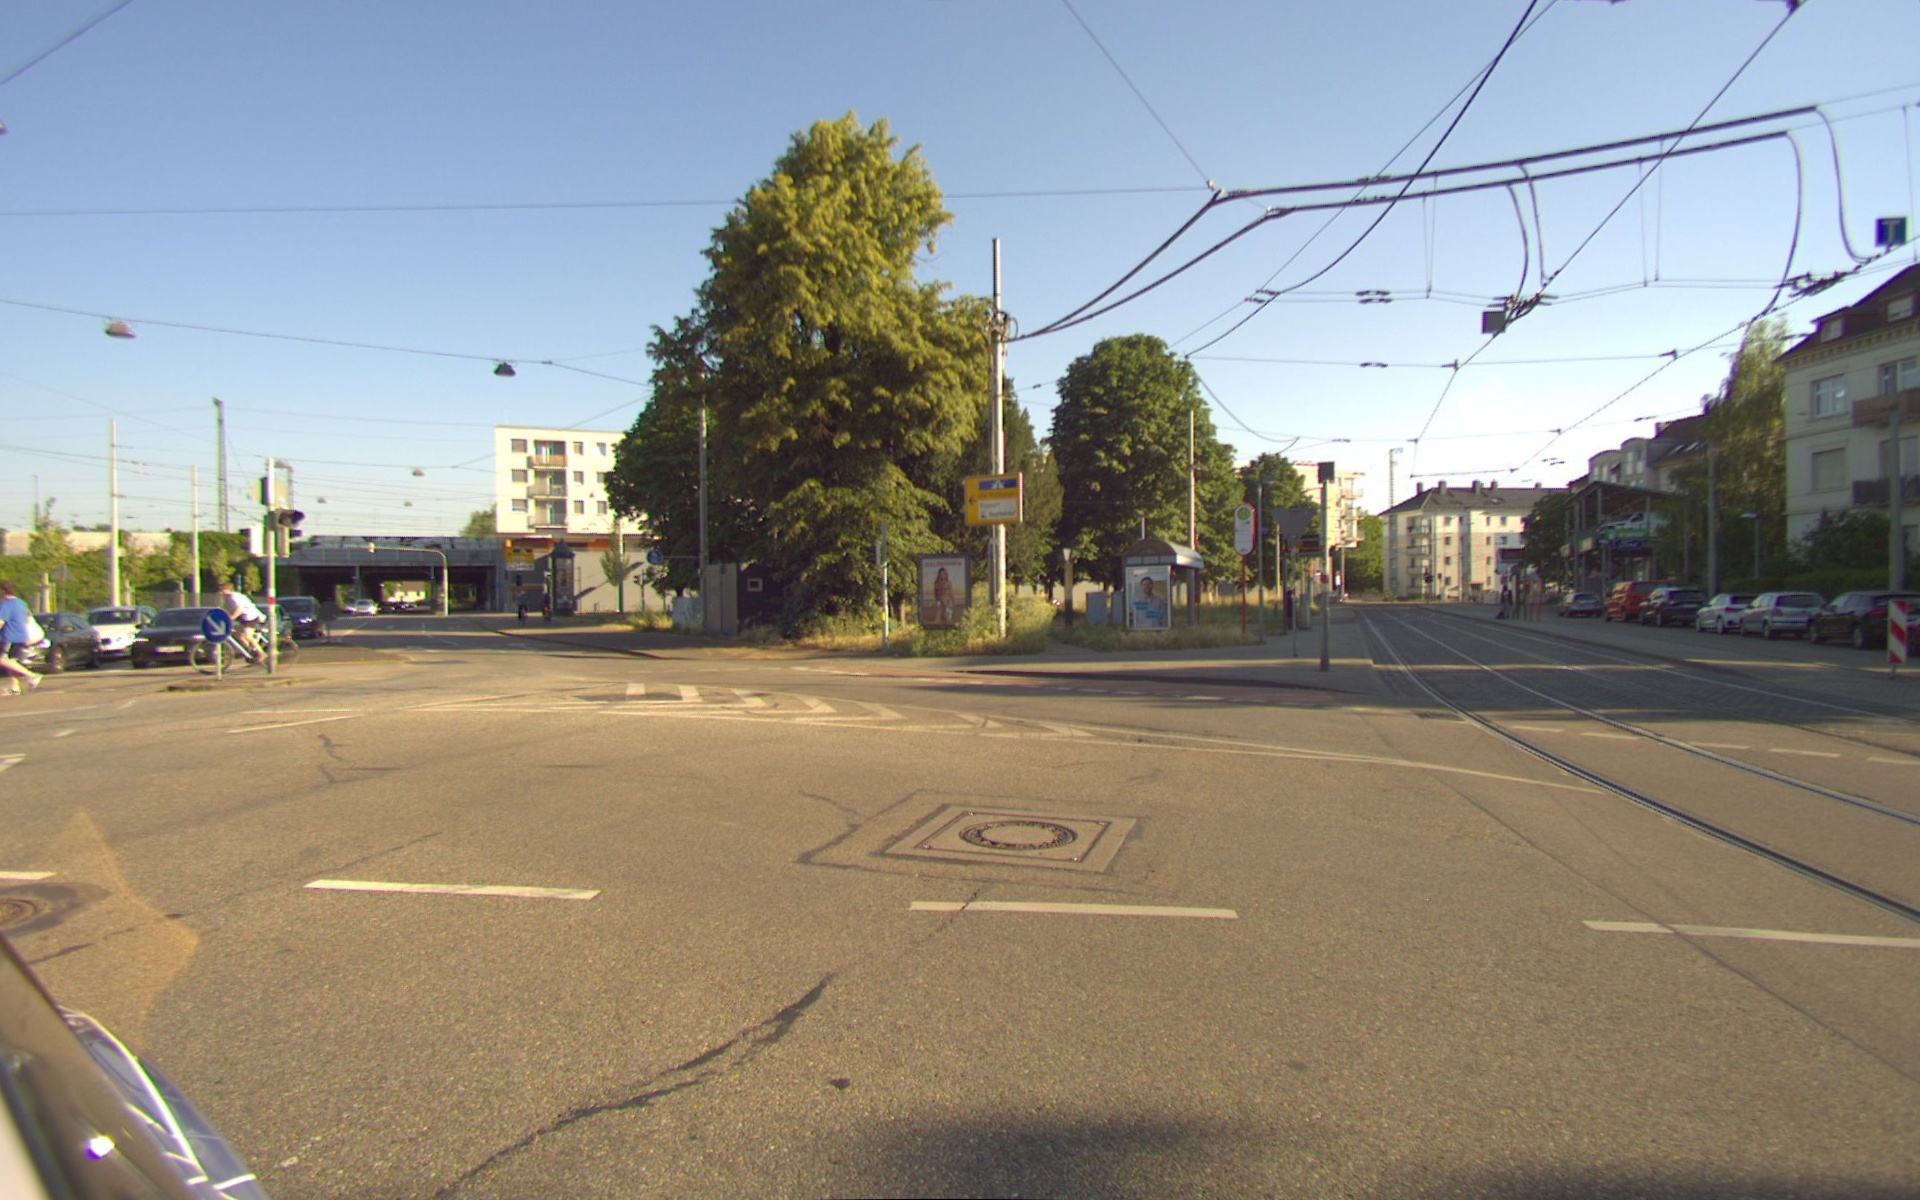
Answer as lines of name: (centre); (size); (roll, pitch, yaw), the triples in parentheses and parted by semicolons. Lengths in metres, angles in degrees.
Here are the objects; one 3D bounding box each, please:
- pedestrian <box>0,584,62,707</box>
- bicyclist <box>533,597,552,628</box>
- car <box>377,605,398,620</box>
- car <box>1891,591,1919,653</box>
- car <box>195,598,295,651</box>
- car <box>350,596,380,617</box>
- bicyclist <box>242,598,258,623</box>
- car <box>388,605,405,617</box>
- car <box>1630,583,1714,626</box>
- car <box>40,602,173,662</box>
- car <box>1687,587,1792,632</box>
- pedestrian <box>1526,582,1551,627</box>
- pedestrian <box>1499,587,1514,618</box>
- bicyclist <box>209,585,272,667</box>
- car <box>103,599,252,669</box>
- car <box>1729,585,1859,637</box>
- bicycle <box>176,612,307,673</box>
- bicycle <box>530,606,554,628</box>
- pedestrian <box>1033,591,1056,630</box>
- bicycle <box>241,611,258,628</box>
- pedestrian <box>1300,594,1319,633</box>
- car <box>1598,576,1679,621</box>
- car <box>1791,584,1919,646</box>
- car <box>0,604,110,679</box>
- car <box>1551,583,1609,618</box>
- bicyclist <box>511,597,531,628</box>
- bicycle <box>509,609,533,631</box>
pedestrian: (-15.447, 0.722, 16.460); (1.049, 1.939, 0.918); (-1, 0, -28)
bicyclist: (-21.187, 0.636, 51.351); (0.650, 1.543, 1.040); (-1, 0, -37)
car: (-68.656, 1.534, 121.362); (1.965, 1.716, 4.013); (-1, 0, -26)
car: (22.502, 0.486, 21.563); (1.969, 1.387, 4.680); (-3, 0, 16)
car: (-23.276, 0.735, 33.123); (1.965, 1.579, 4.471); (-1, 0, -26)
car: (-50.747, 0.565, 86.359); (1.965, 1.716, 4.013); (-1, 0, -26)
bicyclist: (-46.885, 0.698, 66.837); (0.764, 1.618, 0.860); (0, -1, -28)
car: (-87.073, 1.662, 156.431); (1.965, 1.716, 4.013); (-1, 0, -25)
car: (30.212, 0.163, 43.064); (1.832, 1.680, 4.339); (-3, 0, 21)
car: (-24.800, 0.859, 29.597); (1.965, 1.579, 4.289); (-1, 0, -26)
car: (27.510, 0.303, 35.851); (1.832, 1.458, 3.931); (-3, 0, 21)
pedestrian: (26.488, 0.208, 46.376); (0.919, 2.029, 0.762); (-1, 0, 27)
pedestrian: (26.498, 0.117, 49.087); (0.566, 1.512, 0.671); (-1, 0, 34)
bicyclist: (-14.782, 0.520, 20.809); (1.025, 1.641, 0.715); (-1, 0, -36)
car: (-19.694, 0.778, 25.708); (2.018, 1.579, 4.465); (-1, 0, -25)
car: (25.875, 0.320, 31.566); (1.973, 1.458, 3.693); (-3, 0, 21)
bicycle: (-14.765, 0.854, 20.845); (2.165, 1.151, 0.702); (-1, 0, -36)
bicycle: (-21.272, 0.859, 51.488); (0.653, 1.077, 2.024); (0, 0, -37)
pedestrian: (3.317, 0.404, 39.556); (0.660, 1.504, 0.852); (0, 0, -12)
bicycle: (-46.874, 1.260, 66.806); (0.652, 1.077, 2.025); (0, 0, -28)
pedestrian: (12.865, 0.496, 37.277); (0.592, 1.437, 0.503); (-1, 0, 14)
car: (32.721, -0.071, 48.958); (2.042, 1.976, 5.115); (-3, 0, 21)
car: (24.558, 0.359, 27.197); (1.973, 1.458, 4.672); (-3, 0, 21)
car: (-21.785, 0.917, 23.622); (1.965, 1.578, 4.289); (-2, 1, -26)
car: (37.997, 0.011, 62.170); (2.042, 1.976, 5.115); (-3, 0, 21)
bicyclist: (-22.025, 0.633, 50.736); (0.687, 1.543, 1.040); (-1, 0, -37)
bicycle: (-21.995, 0.999, 50.689); (0.653, 1.077, 2.023); (0, 0, -37)
